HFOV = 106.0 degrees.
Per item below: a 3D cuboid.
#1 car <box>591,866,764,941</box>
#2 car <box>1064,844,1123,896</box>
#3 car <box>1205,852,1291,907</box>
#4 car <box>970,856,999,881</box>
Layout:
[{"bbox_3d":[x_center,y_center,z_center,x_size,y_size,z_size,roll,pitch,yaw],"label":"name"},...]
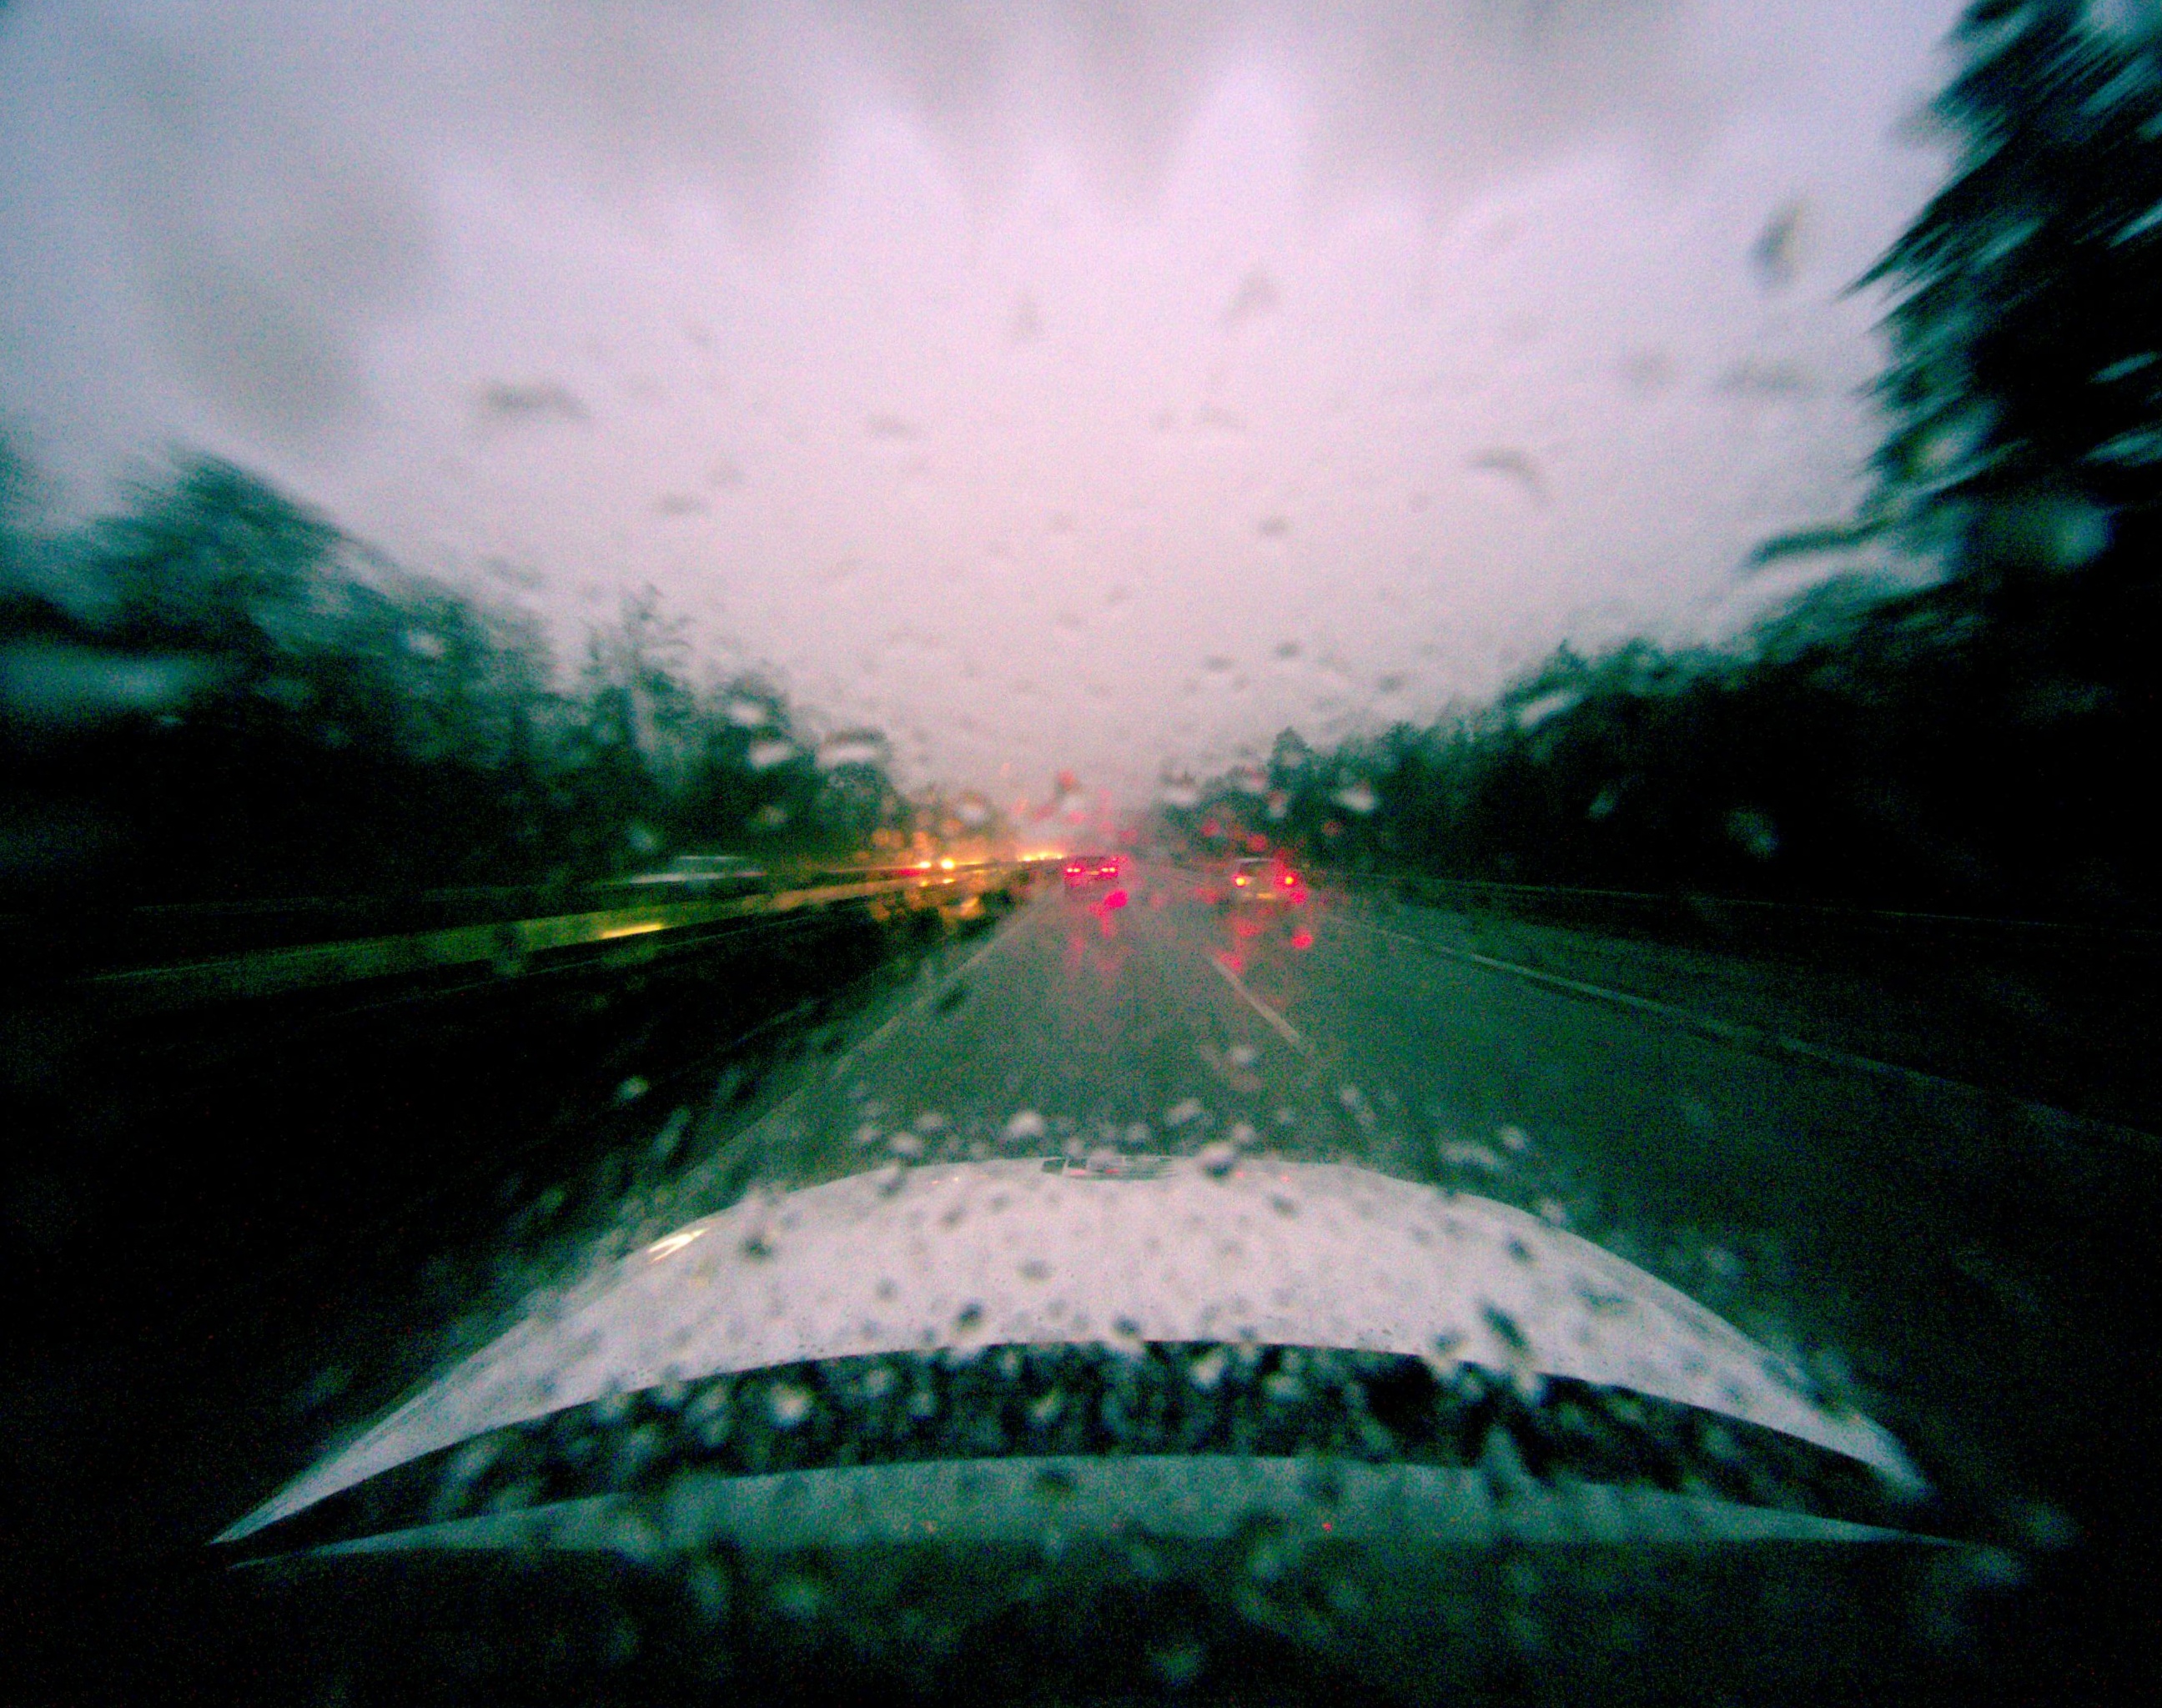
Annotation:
[{"bbox_3d":[-10.960,1.260,22.701,1.869,1.695,5.453,-1,0,3],"label":"car"},{"bbox_3d":[0.432,0.546,29.825,1.980,1.767,4.172,-1,0,0],"label":"car"},{"bbox_3d":[4.633,0.673,23.068,1.773,1.437,3.538,-1,0,1],"label":"car"},{"bbox_3d":[-6.545,0.965,55.670,1.462,1.656,3.639,-1,0,1],"label":"car"}]
